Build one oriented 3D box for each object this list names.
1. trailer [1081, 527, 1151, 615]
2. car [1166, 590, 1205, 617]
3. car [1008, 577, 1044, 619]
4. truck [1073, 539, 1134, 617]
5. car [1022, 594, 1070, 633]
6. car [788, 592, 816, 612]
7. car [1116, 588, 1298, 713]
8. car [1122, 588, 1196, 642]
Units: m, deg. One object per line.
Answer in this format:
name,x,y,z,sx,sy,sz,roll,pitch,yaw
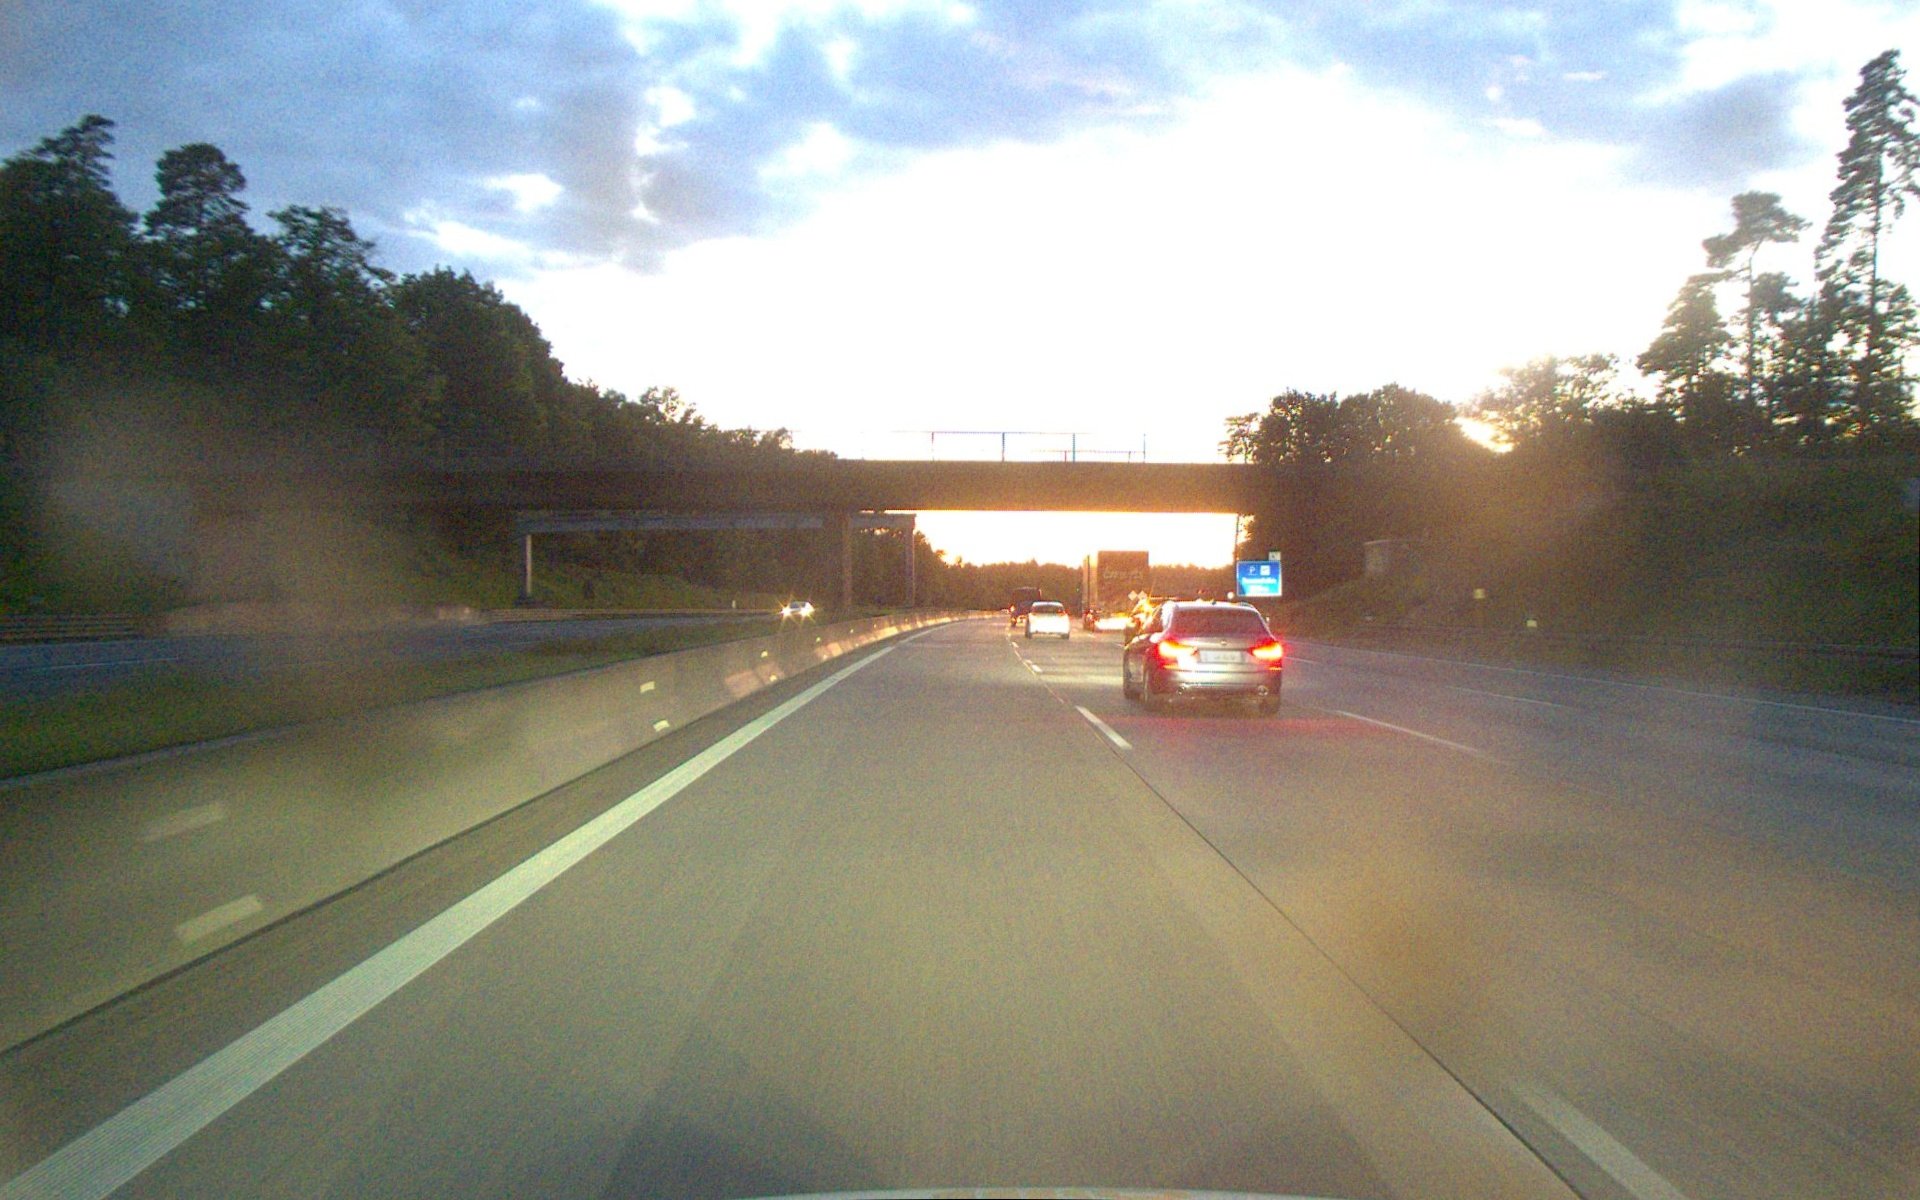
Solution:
trailer,7.883,-1.351,84.821,2.847,4.173,10.358,0,-1,2
car,12.605,0.233,92.604,1.820,1.467,4.112,0,-1,2
car,4.120,-0.085,102.257,2.120,2.461,5.566,0,-1,3
truck,8.191,-1.130,95.406,2.825,4.173,10.833,0,-1,2
car,3.464,0.525,67.264,1.821,1.467,3.721,0,1,1
car,-12.645,0.165,132.340,1.774,1.547,4.430,0,1,0
car,3.428,0.629,23.913,1.870,1.564,5.231,0,1,0
car,6.485,0.477,54.353,1.864,1.672,5.052,0,0,1
